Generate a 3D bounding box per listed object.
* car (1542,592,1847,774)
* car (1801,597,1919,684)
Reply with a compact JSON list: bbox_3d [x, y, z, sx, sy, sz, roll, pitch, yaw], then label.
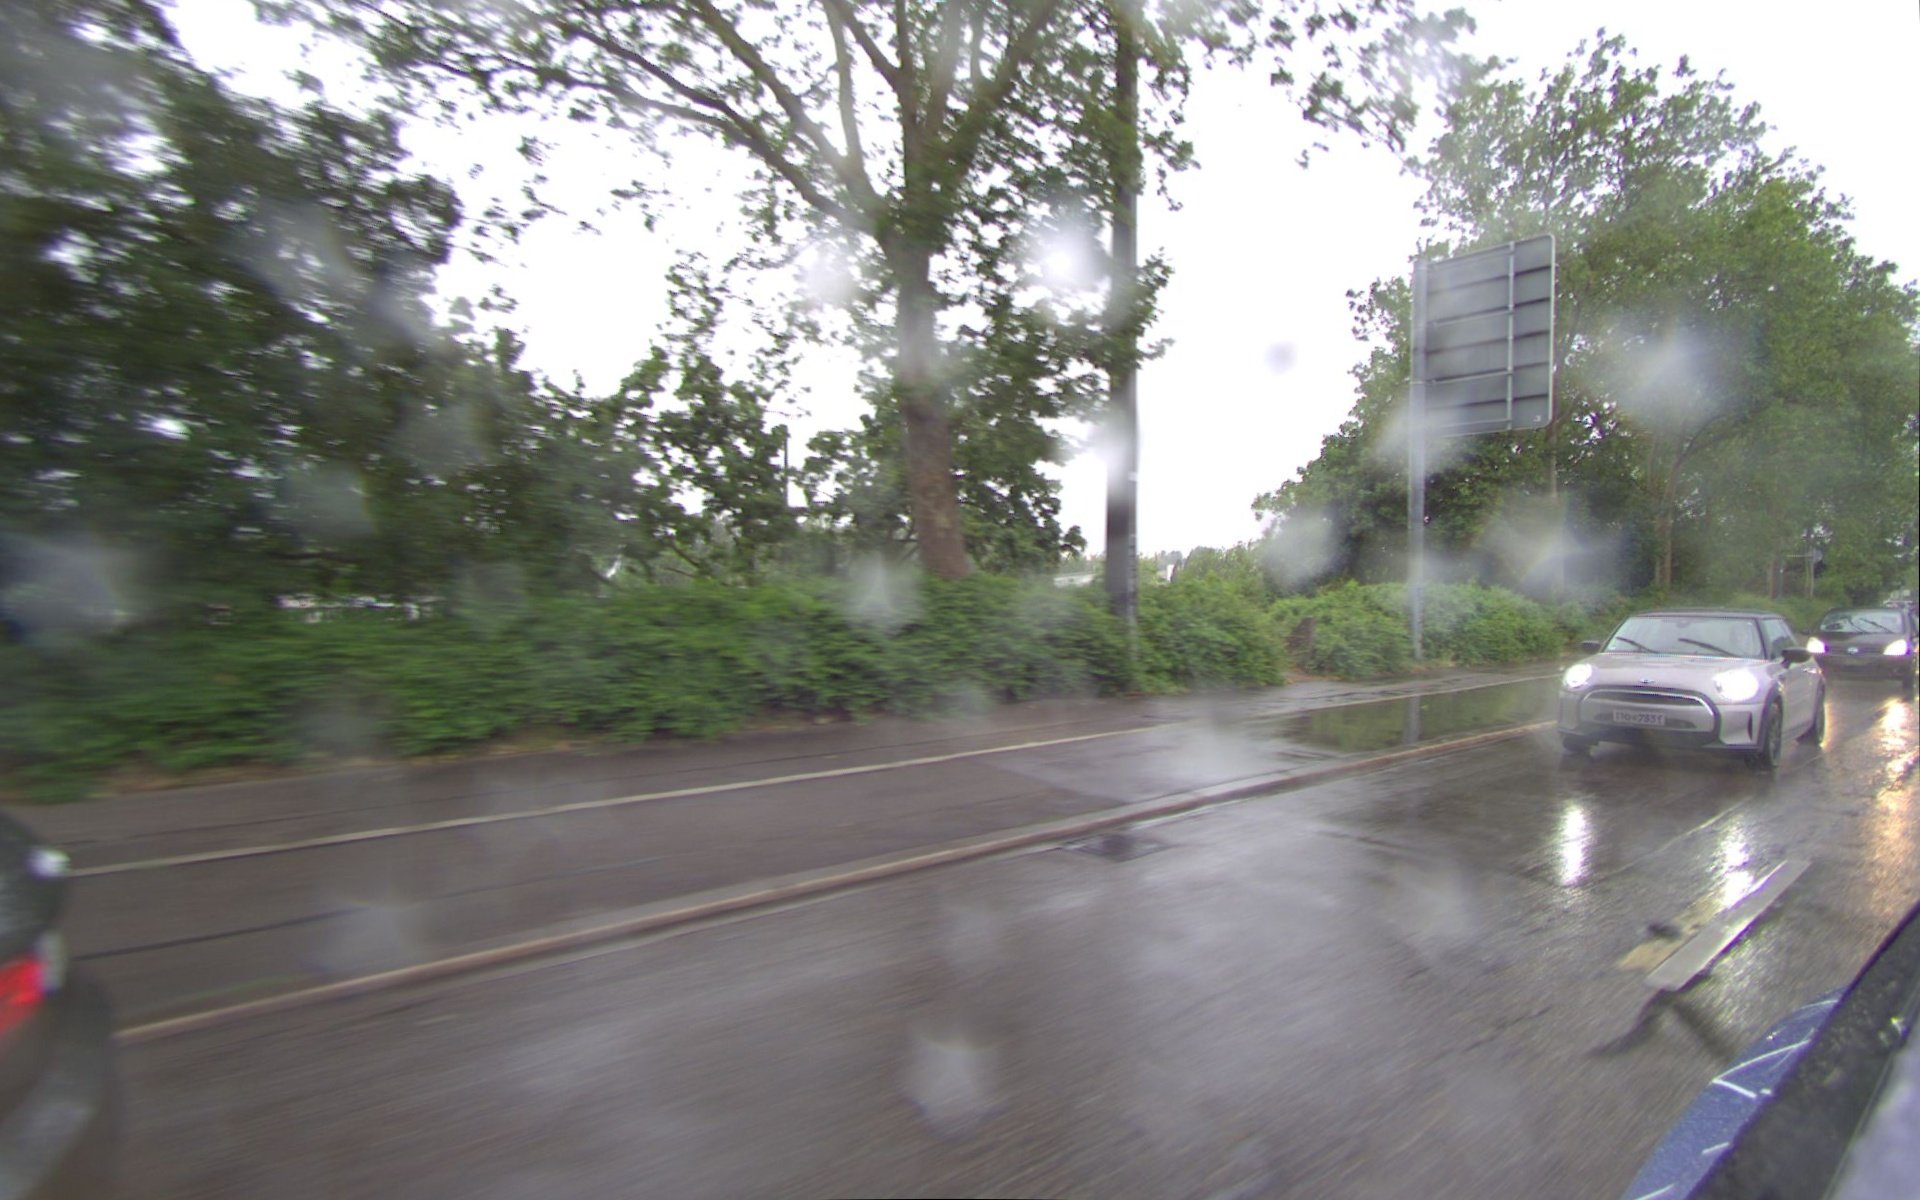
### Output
[{"bbox_3d":[7.504,0.660,10.206,3.789,1.431,1.793,-1,1,-43],"label":"car"},{"bbox_3d":[17.418,0.731,19.188,4.022,1.480,1.773,1,-1,-43],"label":"car"}]
